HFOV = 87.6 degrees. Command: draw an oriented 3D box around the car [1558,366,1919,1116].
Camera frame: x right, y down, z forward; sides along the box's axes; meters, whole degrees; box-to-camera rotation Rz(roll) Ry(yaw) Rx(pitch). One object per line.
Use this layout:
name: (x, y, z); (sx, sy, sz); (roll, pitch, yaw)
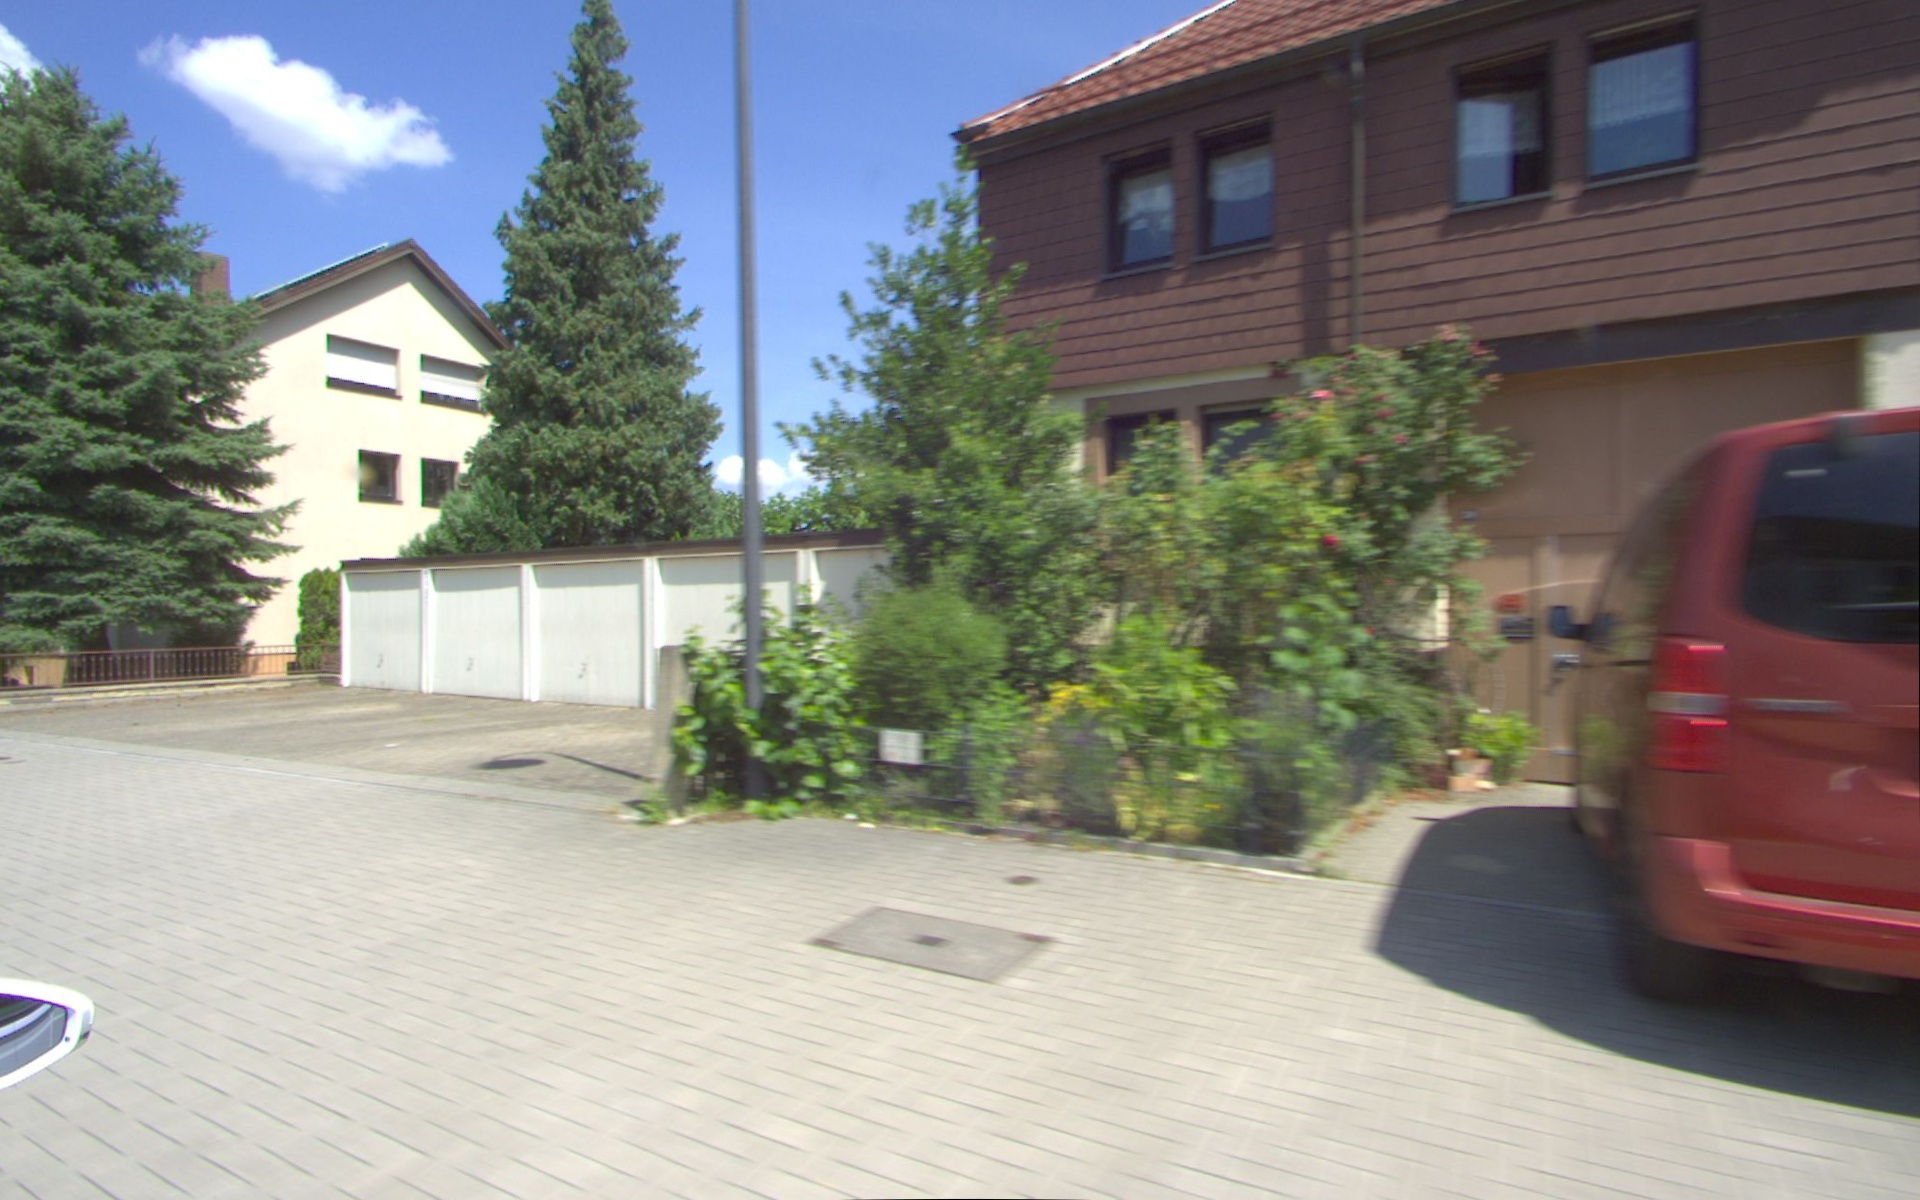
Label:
car: (3.875, 0.422, 4.408); (1.990, 1.917, 4.615); (-1, -2, 30)
